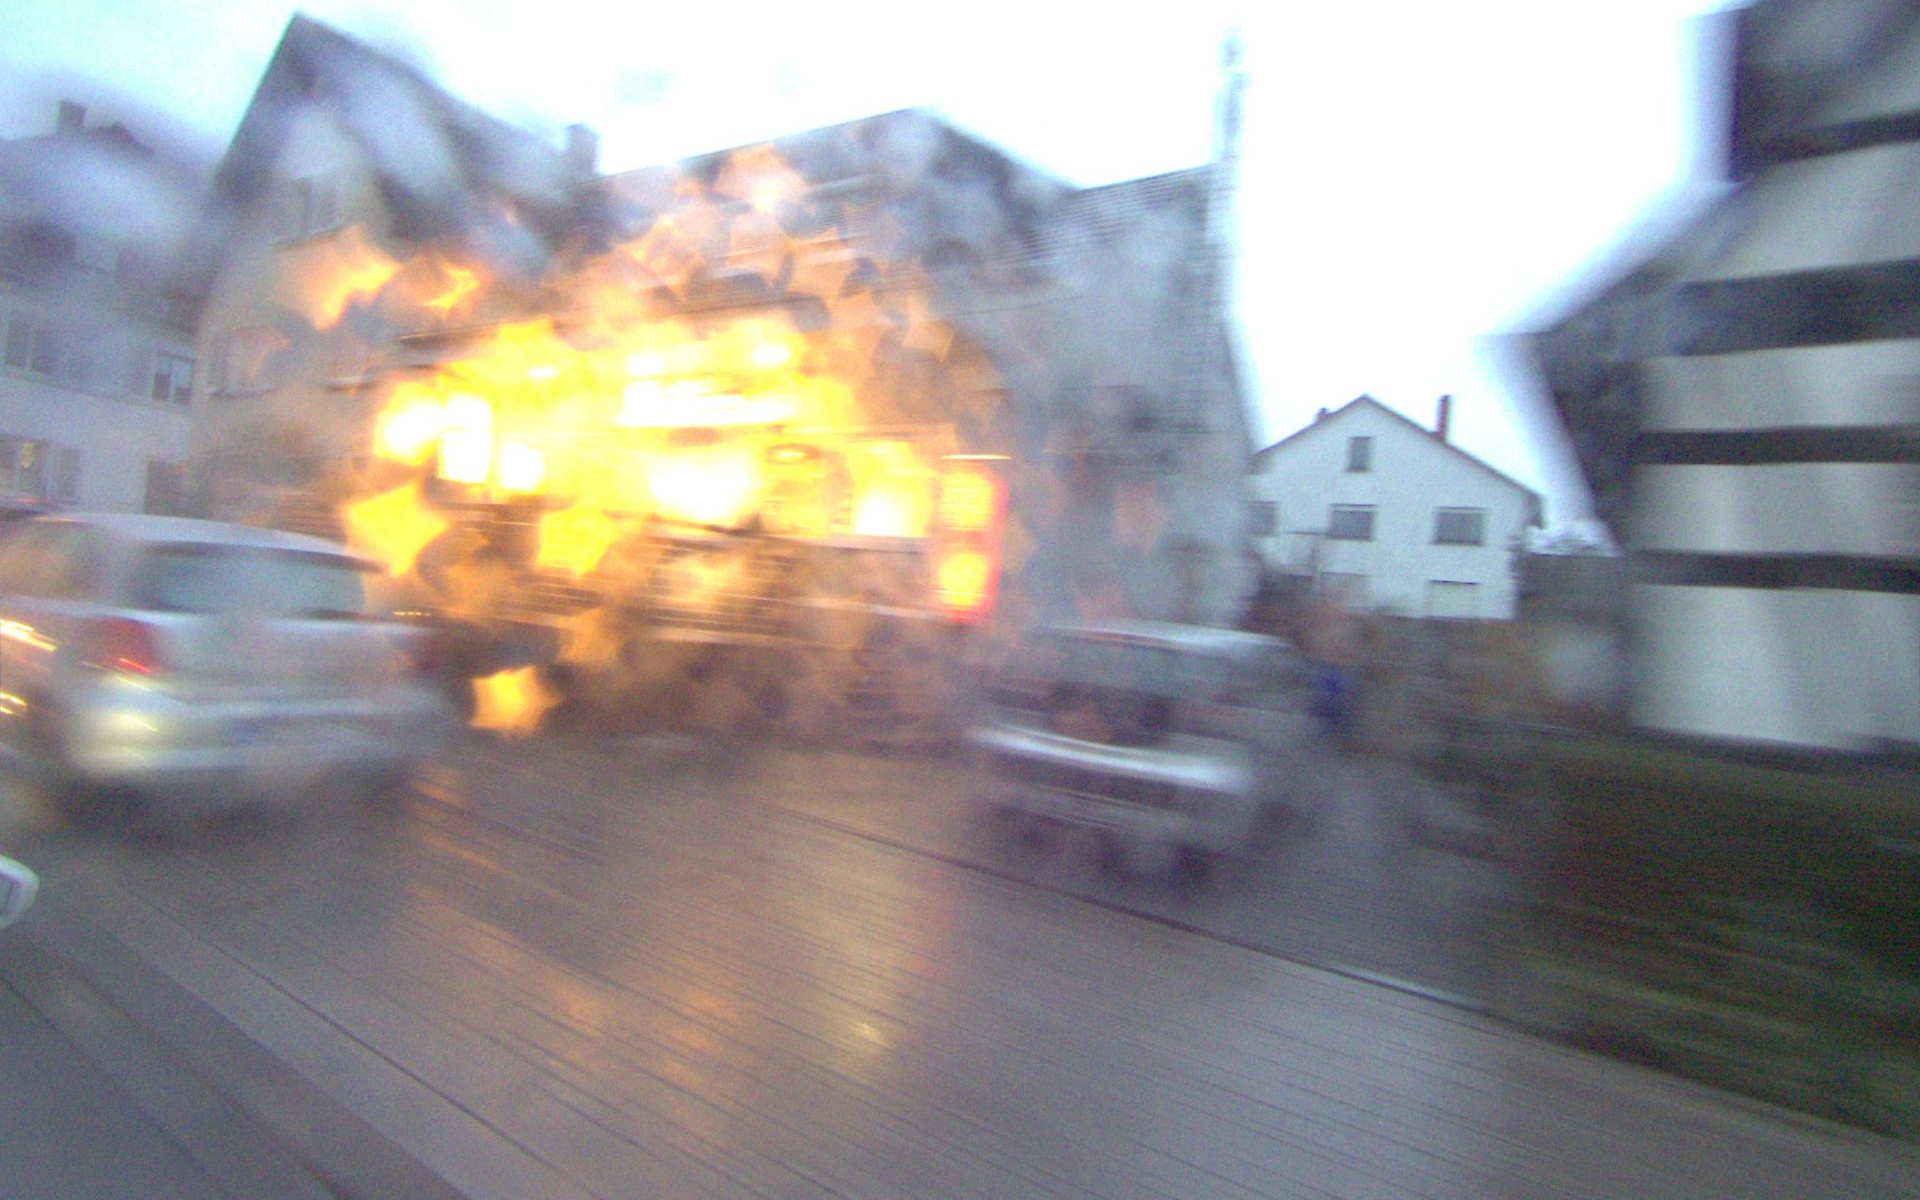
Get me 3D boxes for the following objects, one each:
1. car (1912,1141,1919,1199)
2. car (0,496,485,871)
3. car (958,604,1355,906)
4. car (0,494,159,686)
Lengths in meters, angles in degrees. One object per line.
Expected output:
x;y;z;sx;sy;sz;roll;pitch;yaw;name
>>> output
3.496;1.114;0.295;4.316;1.546;1.765;6;1;30;car
-4.574;0.233;5.732;3.739;1.460;1.626;6;1;34;car
1.580;0.860;7.131;1.658;1.460;3.291;6;2;30;car
-9.111;-0.268;8.749;4.531;1.441;1.824;6;1;31;car
